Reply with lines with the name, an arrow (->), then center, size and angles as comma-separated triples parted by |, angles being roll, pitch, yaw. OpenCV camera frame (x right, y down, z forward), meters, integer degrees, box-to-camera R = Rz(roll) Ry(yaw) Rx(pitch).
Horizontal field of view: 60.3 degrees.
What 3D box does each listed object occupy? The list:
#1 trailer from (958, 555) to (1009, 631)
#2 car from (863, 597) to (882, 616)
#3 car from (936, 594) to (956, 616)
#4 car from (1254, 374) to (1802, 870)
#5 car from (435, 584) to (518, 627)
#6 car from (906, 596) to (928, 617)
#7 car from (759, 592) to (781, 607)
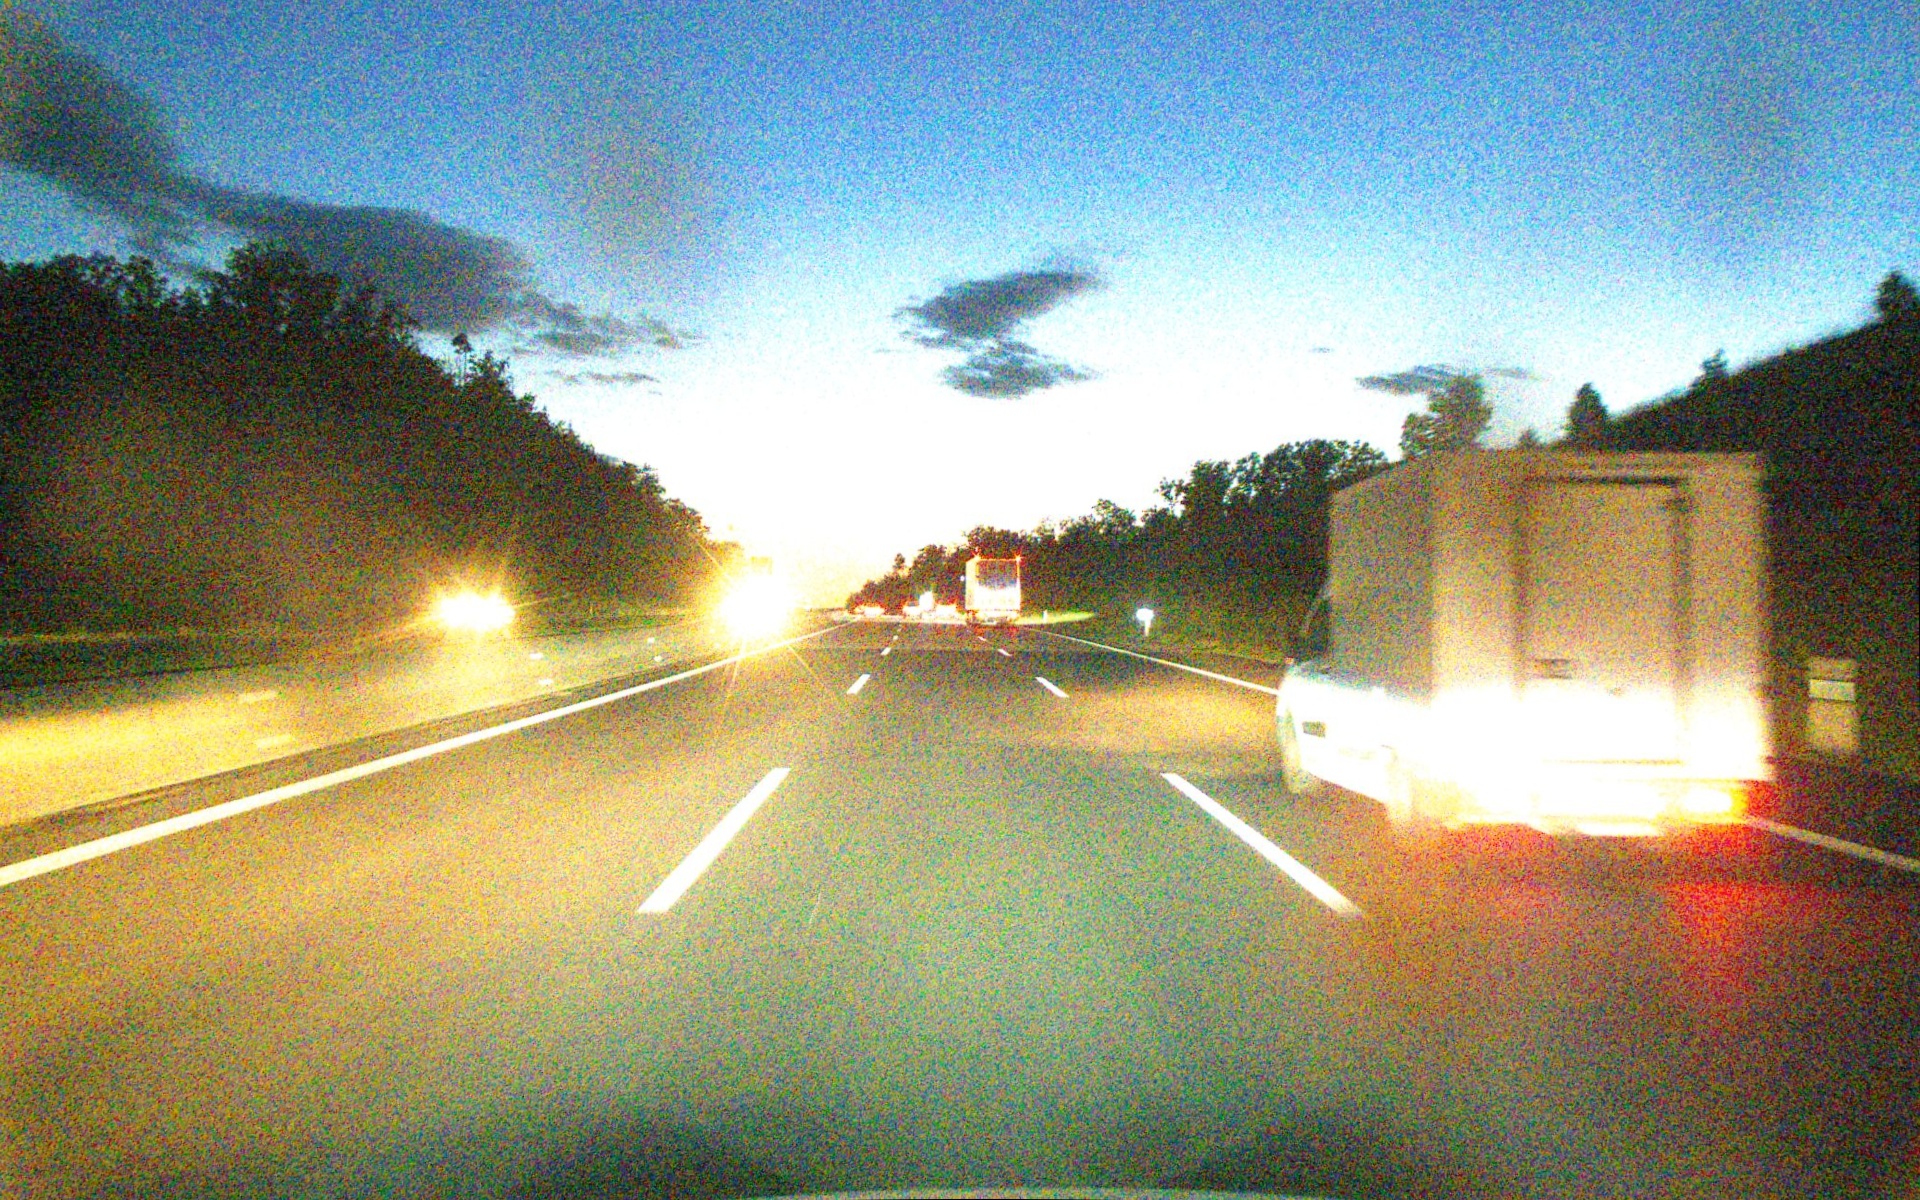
trailer -> 1.329, -0.357, 102.918 | 2.771, 4.331, 17.046 | 1, 0, -1
car -> -9.351, 0.699, 175.801 | 1.954, 1.825, 3.997 | 1, -2, -3
car -> -1.437, 0.489, 170.909 | 1.953, 2.154, 3.998 | 1, -2, -1
car -> 3.621, 0.123, 11.923 | 1.990, 2.693, 5.724 | 1, 0, 0
car -> -20.452, 0.222, 70.215 | 2.199, 1.697, 4.885 | 1, 0, -2
car -> -4.008, 0.585, 153.423 | 1.953, 1.825, 3.999 | 1, -2, 0
car -> -21.834, -0.053, 190.050 | 2.199, 1.625, 4.884 | 1, 0, -3
